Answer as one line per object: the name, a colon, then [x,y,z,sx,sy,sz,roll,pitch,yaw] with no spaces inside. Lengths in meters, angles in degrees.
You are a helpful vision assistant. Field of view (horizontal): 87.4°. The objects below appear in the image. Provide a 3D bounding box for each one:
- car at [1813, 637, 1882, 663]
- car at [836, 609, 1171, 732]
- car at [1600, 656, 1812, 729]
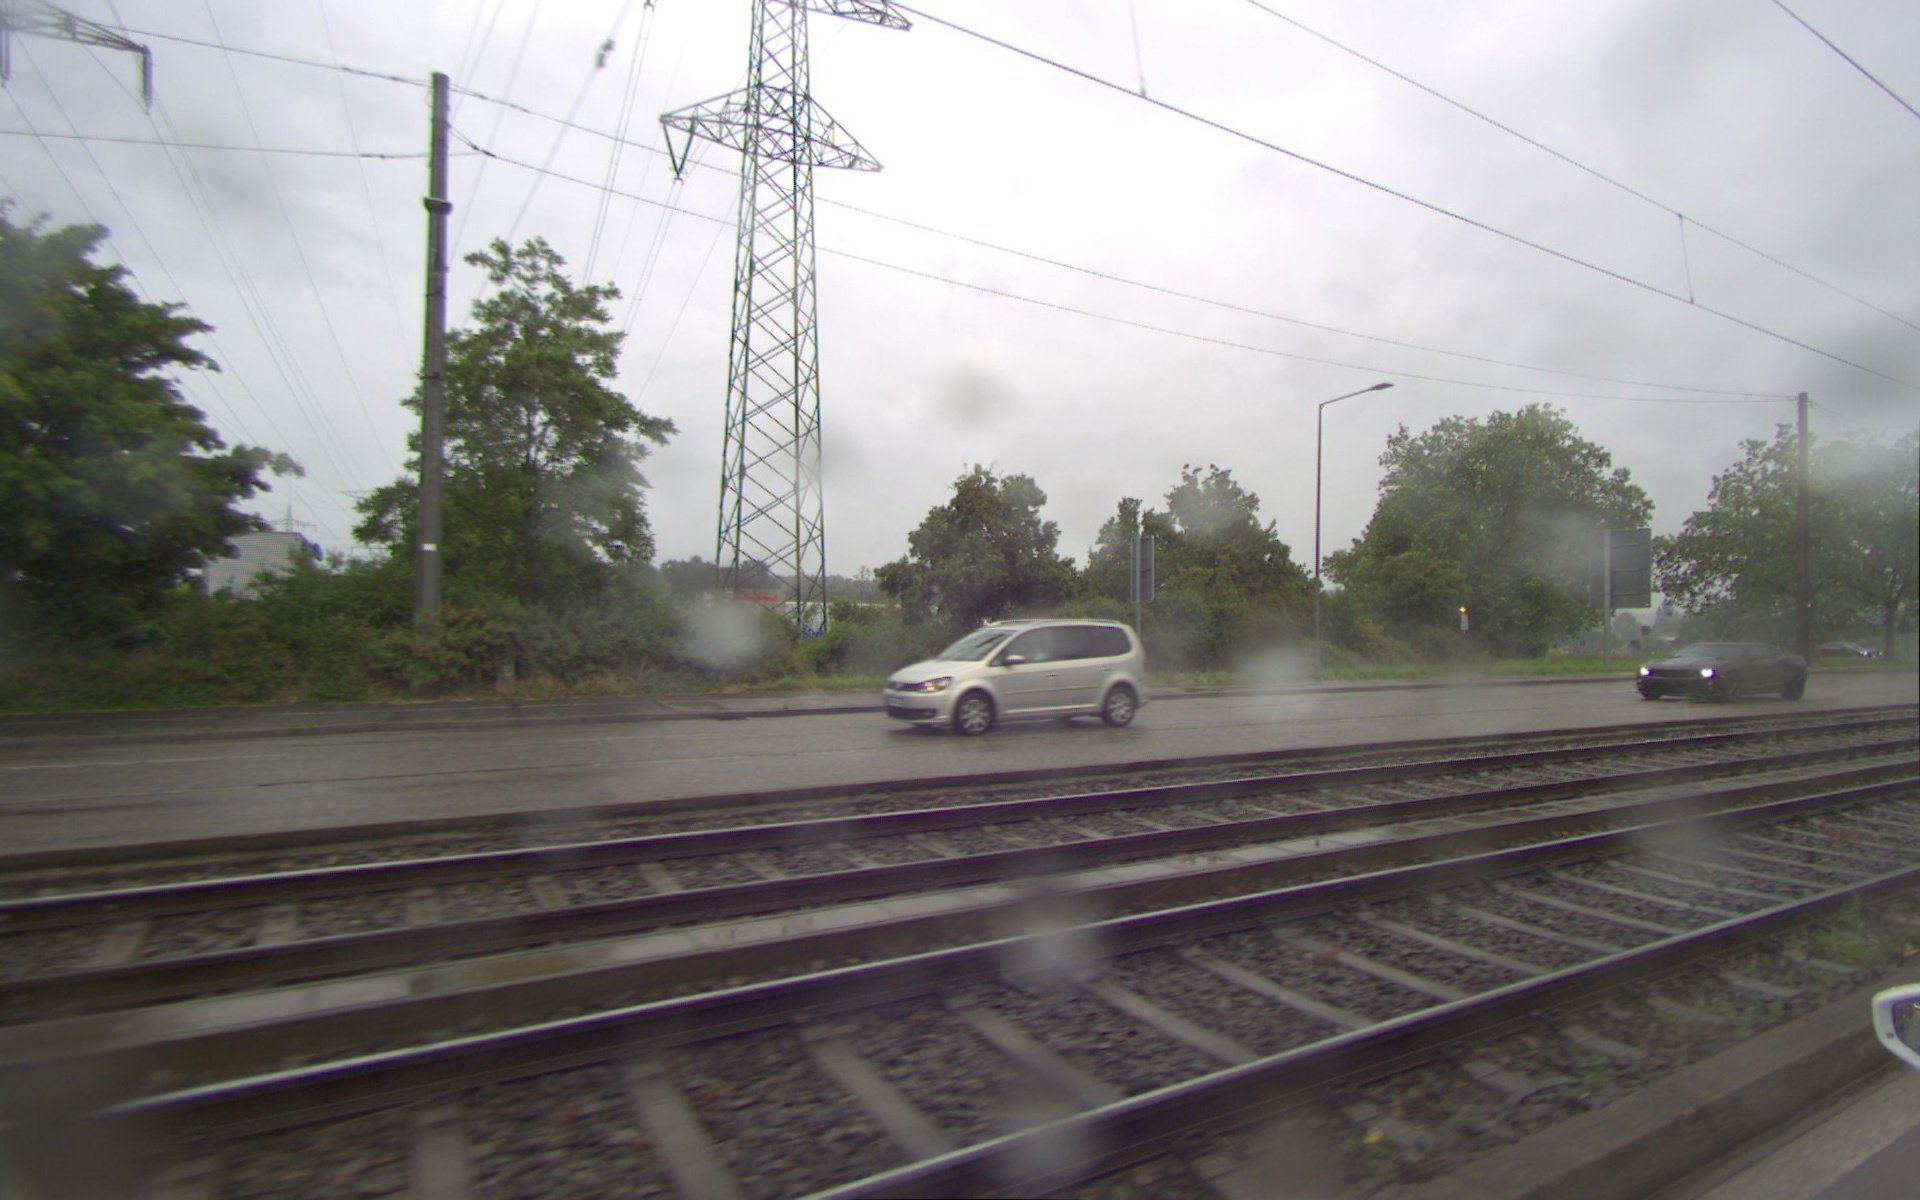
car: [68.041,3.815,77.088,1.810,1.709,4.652,1,1,11]
car: [0.756,0.974,15.498,5.007,1.595,1.833,1,1,-31]
car: [17.779,2.124,23.905,5.184,1.483,1.986,1,-3,-28]
